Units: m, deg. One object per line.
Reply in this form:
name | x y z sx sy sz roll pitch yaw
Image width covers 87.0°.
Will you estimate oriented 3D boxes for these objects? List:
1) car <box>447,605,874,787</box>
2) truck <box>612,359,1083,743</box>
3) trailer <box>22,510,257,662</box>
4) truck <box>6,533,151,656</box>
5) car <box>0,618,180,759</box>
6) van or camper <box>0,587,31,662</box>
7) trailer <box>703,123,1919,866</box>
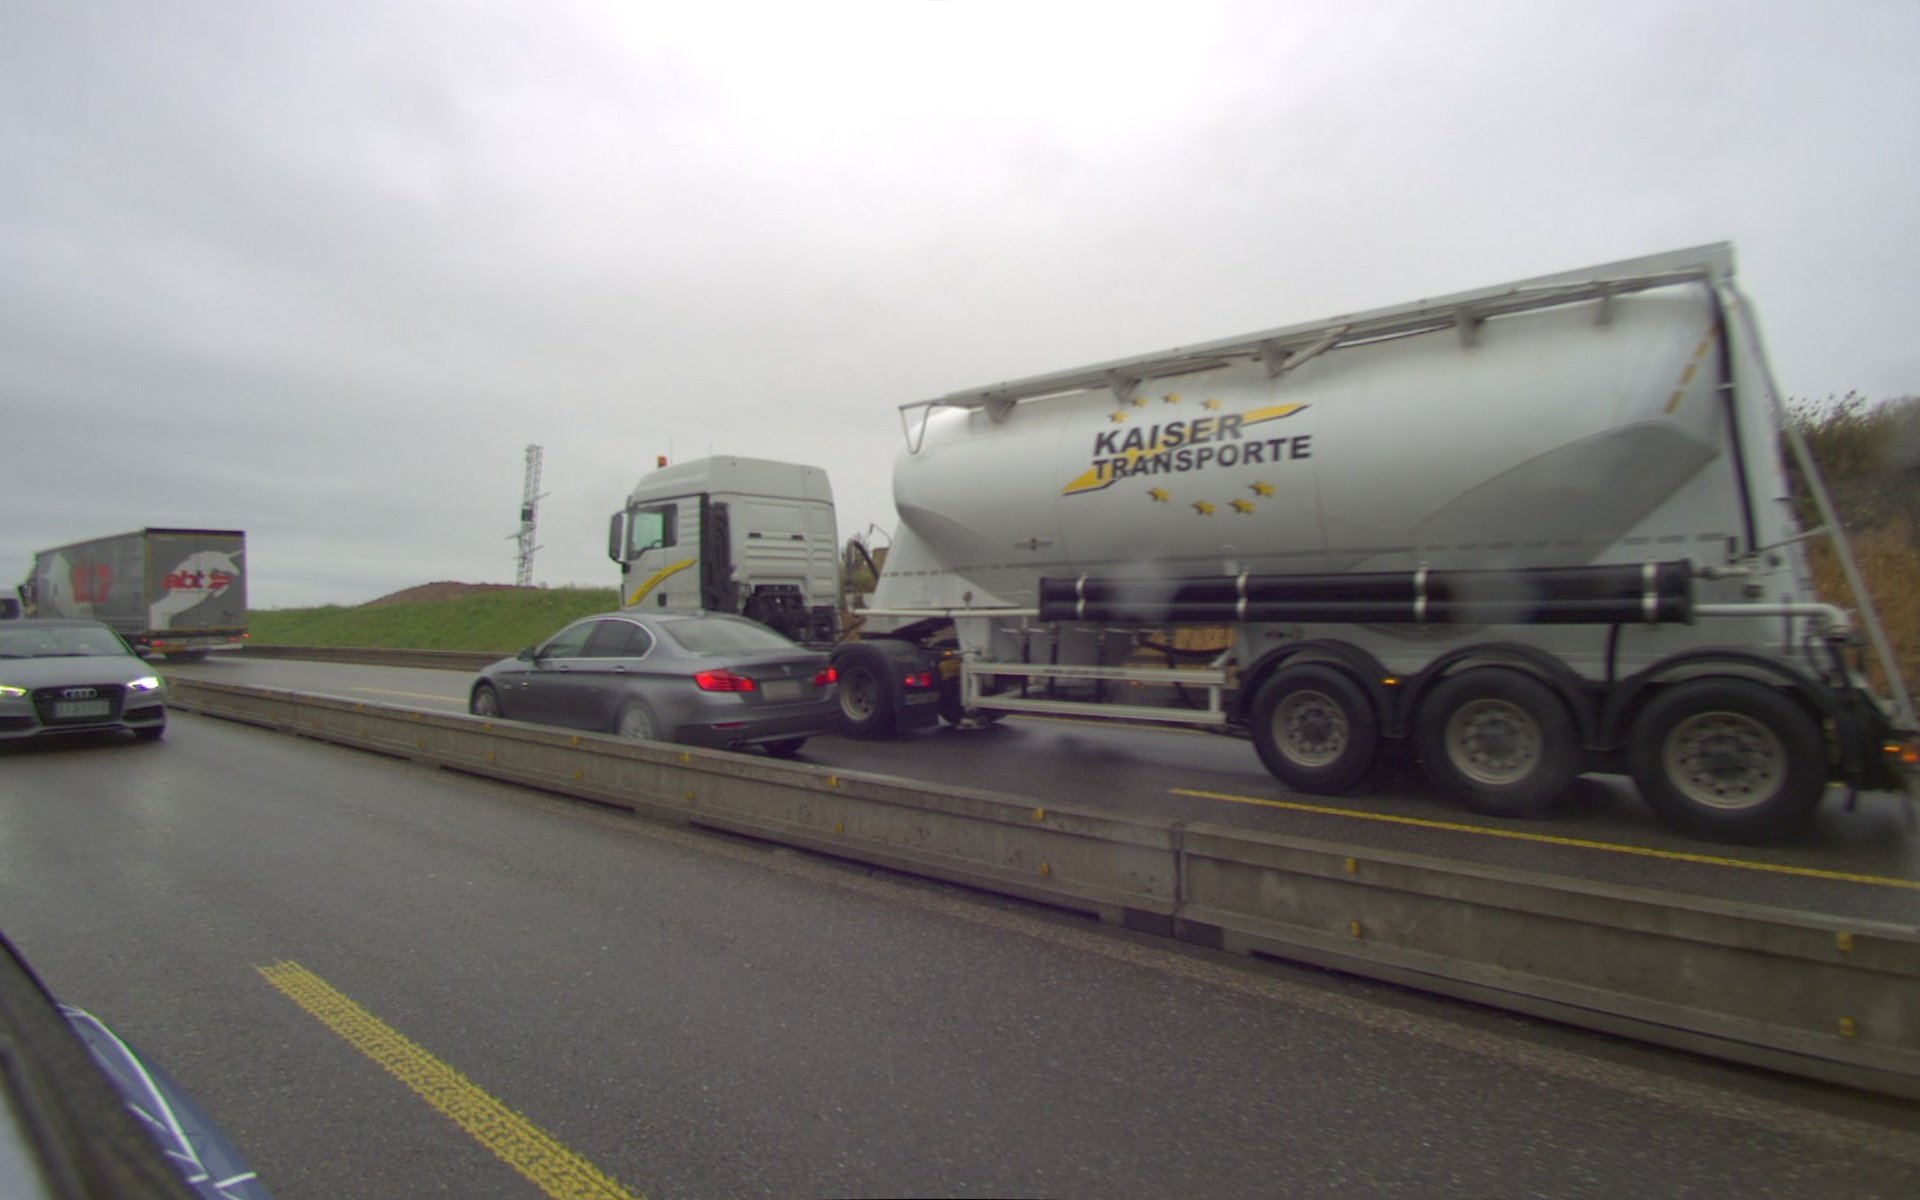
car | -3.268 0.816 10.401 4.947 1.450 1.784 -1 -2 40
truck | -1.671 -0.474 13.642 5.878 3.985 3.198 -1 -1 41
trailer | -29.234 -0.216 35.527 15.681 4.455 2.966 -1 -3 38
truck | -34.967 -0.100 40.080 6.921 4.443 2.951 -1 -3 38
car | -10.935 0.929 11.955 4.082 1.393 1.783 0 -1 38
van or camper | -35.940 0.898 36.942 5.824 2.633 2.255 -1 0 40
trailer | 2.084 -0.510 10.323 11.532 3.994 3.221 -1 -1 42
